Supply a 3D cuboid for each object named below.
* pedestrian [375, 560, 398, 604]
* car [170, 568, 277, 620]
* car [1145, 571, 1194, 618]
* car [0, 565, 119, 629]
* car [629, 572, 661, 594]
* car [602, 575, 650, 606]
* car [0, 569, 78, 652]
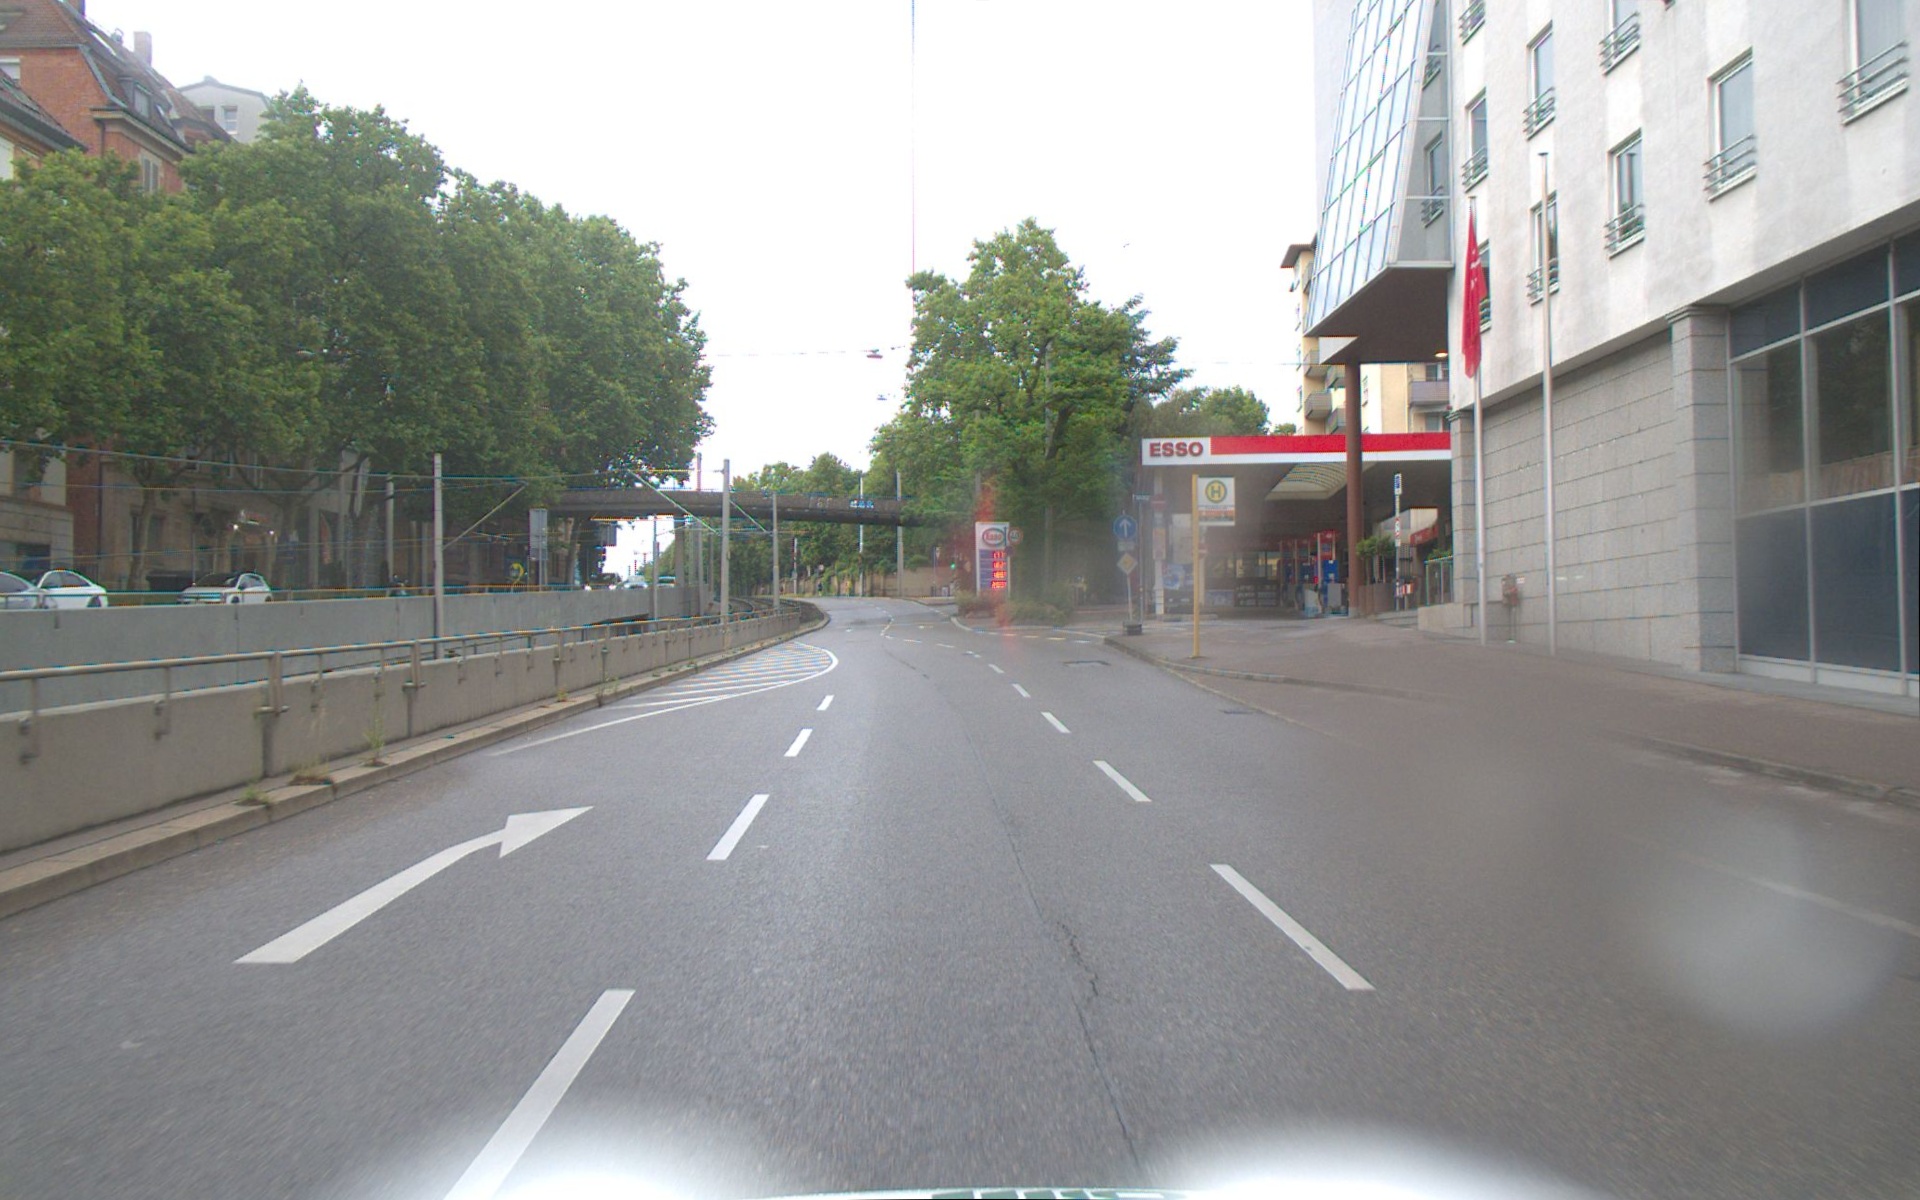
[{"bbox_3d":[-27.073,-0.835,78.065,0.655,2.049,0.935,1,-1,2],"label":"pedestrian"},{"bbox_3d":[-24.660,-0.206,55.502,1.758,1.639,4.111,1,0,-1],"label":"car"},{"bbox_3d":[8.033,-0.203,63.383,1.735,1.652,3.869,-2,0,8],"label":"car"},{"bbox_3d":[-24.841,-0.110,44.364,1.888,1.629,5.199,1,0,0],"label":"car"},{"bbox_3d":[-24.535,-1.314,128.866,1.758,1.537,3.998,1,-1,-2],"label":"car"},{"bbox_3d":[-20.719,-0.602,102.798,1.916,1.885,4.968,1,0,1],"label":"car"},{"bbox_3d":[-18.571,0.172,30.466,1.985,1.536,4.883,1,0,0],"label":"car"}]
